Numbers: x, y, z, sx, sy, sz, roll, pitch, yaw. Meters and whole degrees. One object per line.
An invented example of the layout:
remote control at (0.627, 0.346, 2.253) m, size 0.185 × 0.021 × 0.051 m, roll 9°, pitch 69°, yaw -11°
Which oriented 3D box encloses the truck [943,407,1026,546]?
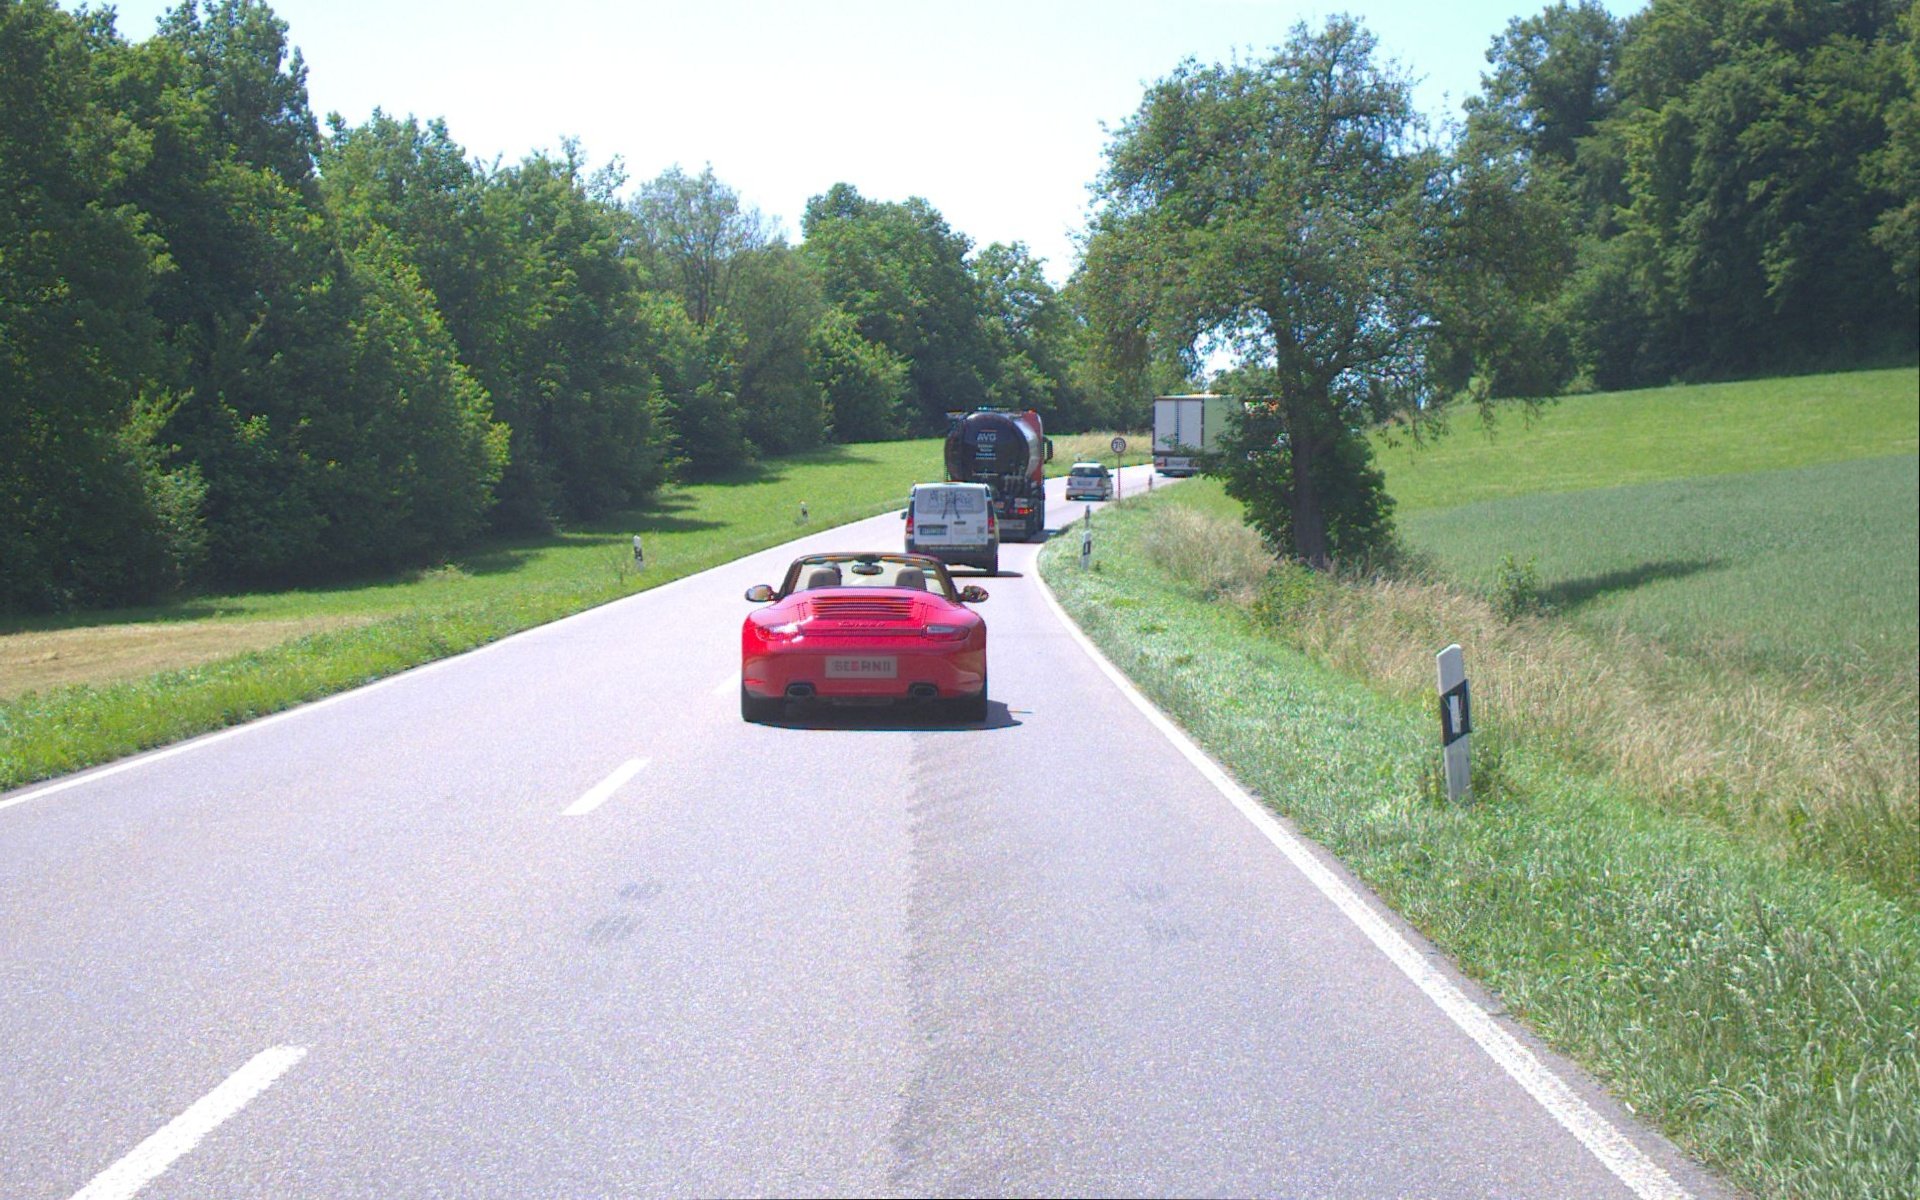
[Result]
truck at (0.795, -3.785, 106.915) m, size 2.404 × 4.036 × 12.551 m, roll 0°, pitch 2°, yaw 1°

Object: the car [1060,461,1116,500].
car at (5.435, -5.060, 145.164) m, size 1.831 × 1.508 × 4.190 m, roll 0°, pitch 4°, yaw 10°

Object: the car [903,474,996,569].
car at (-0.184, -1.657, 71.284) m, size 1.679 × 1.894 × 4.009 m, roll 0°, pitch 2°, yaw 3°

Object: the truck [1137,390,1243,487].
truck at (11.999, -8.430, 178.083) m, size 3.727 × 4.644 × 12.027 m, roll -3°, pitch 3°, yaw 11°

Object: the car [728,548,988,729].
car at (-0.759, 0.250, 26.944) m, size 1.882 × 1.250 × 4.010 m, roll 0°, pitch 2°, yaw -1°
